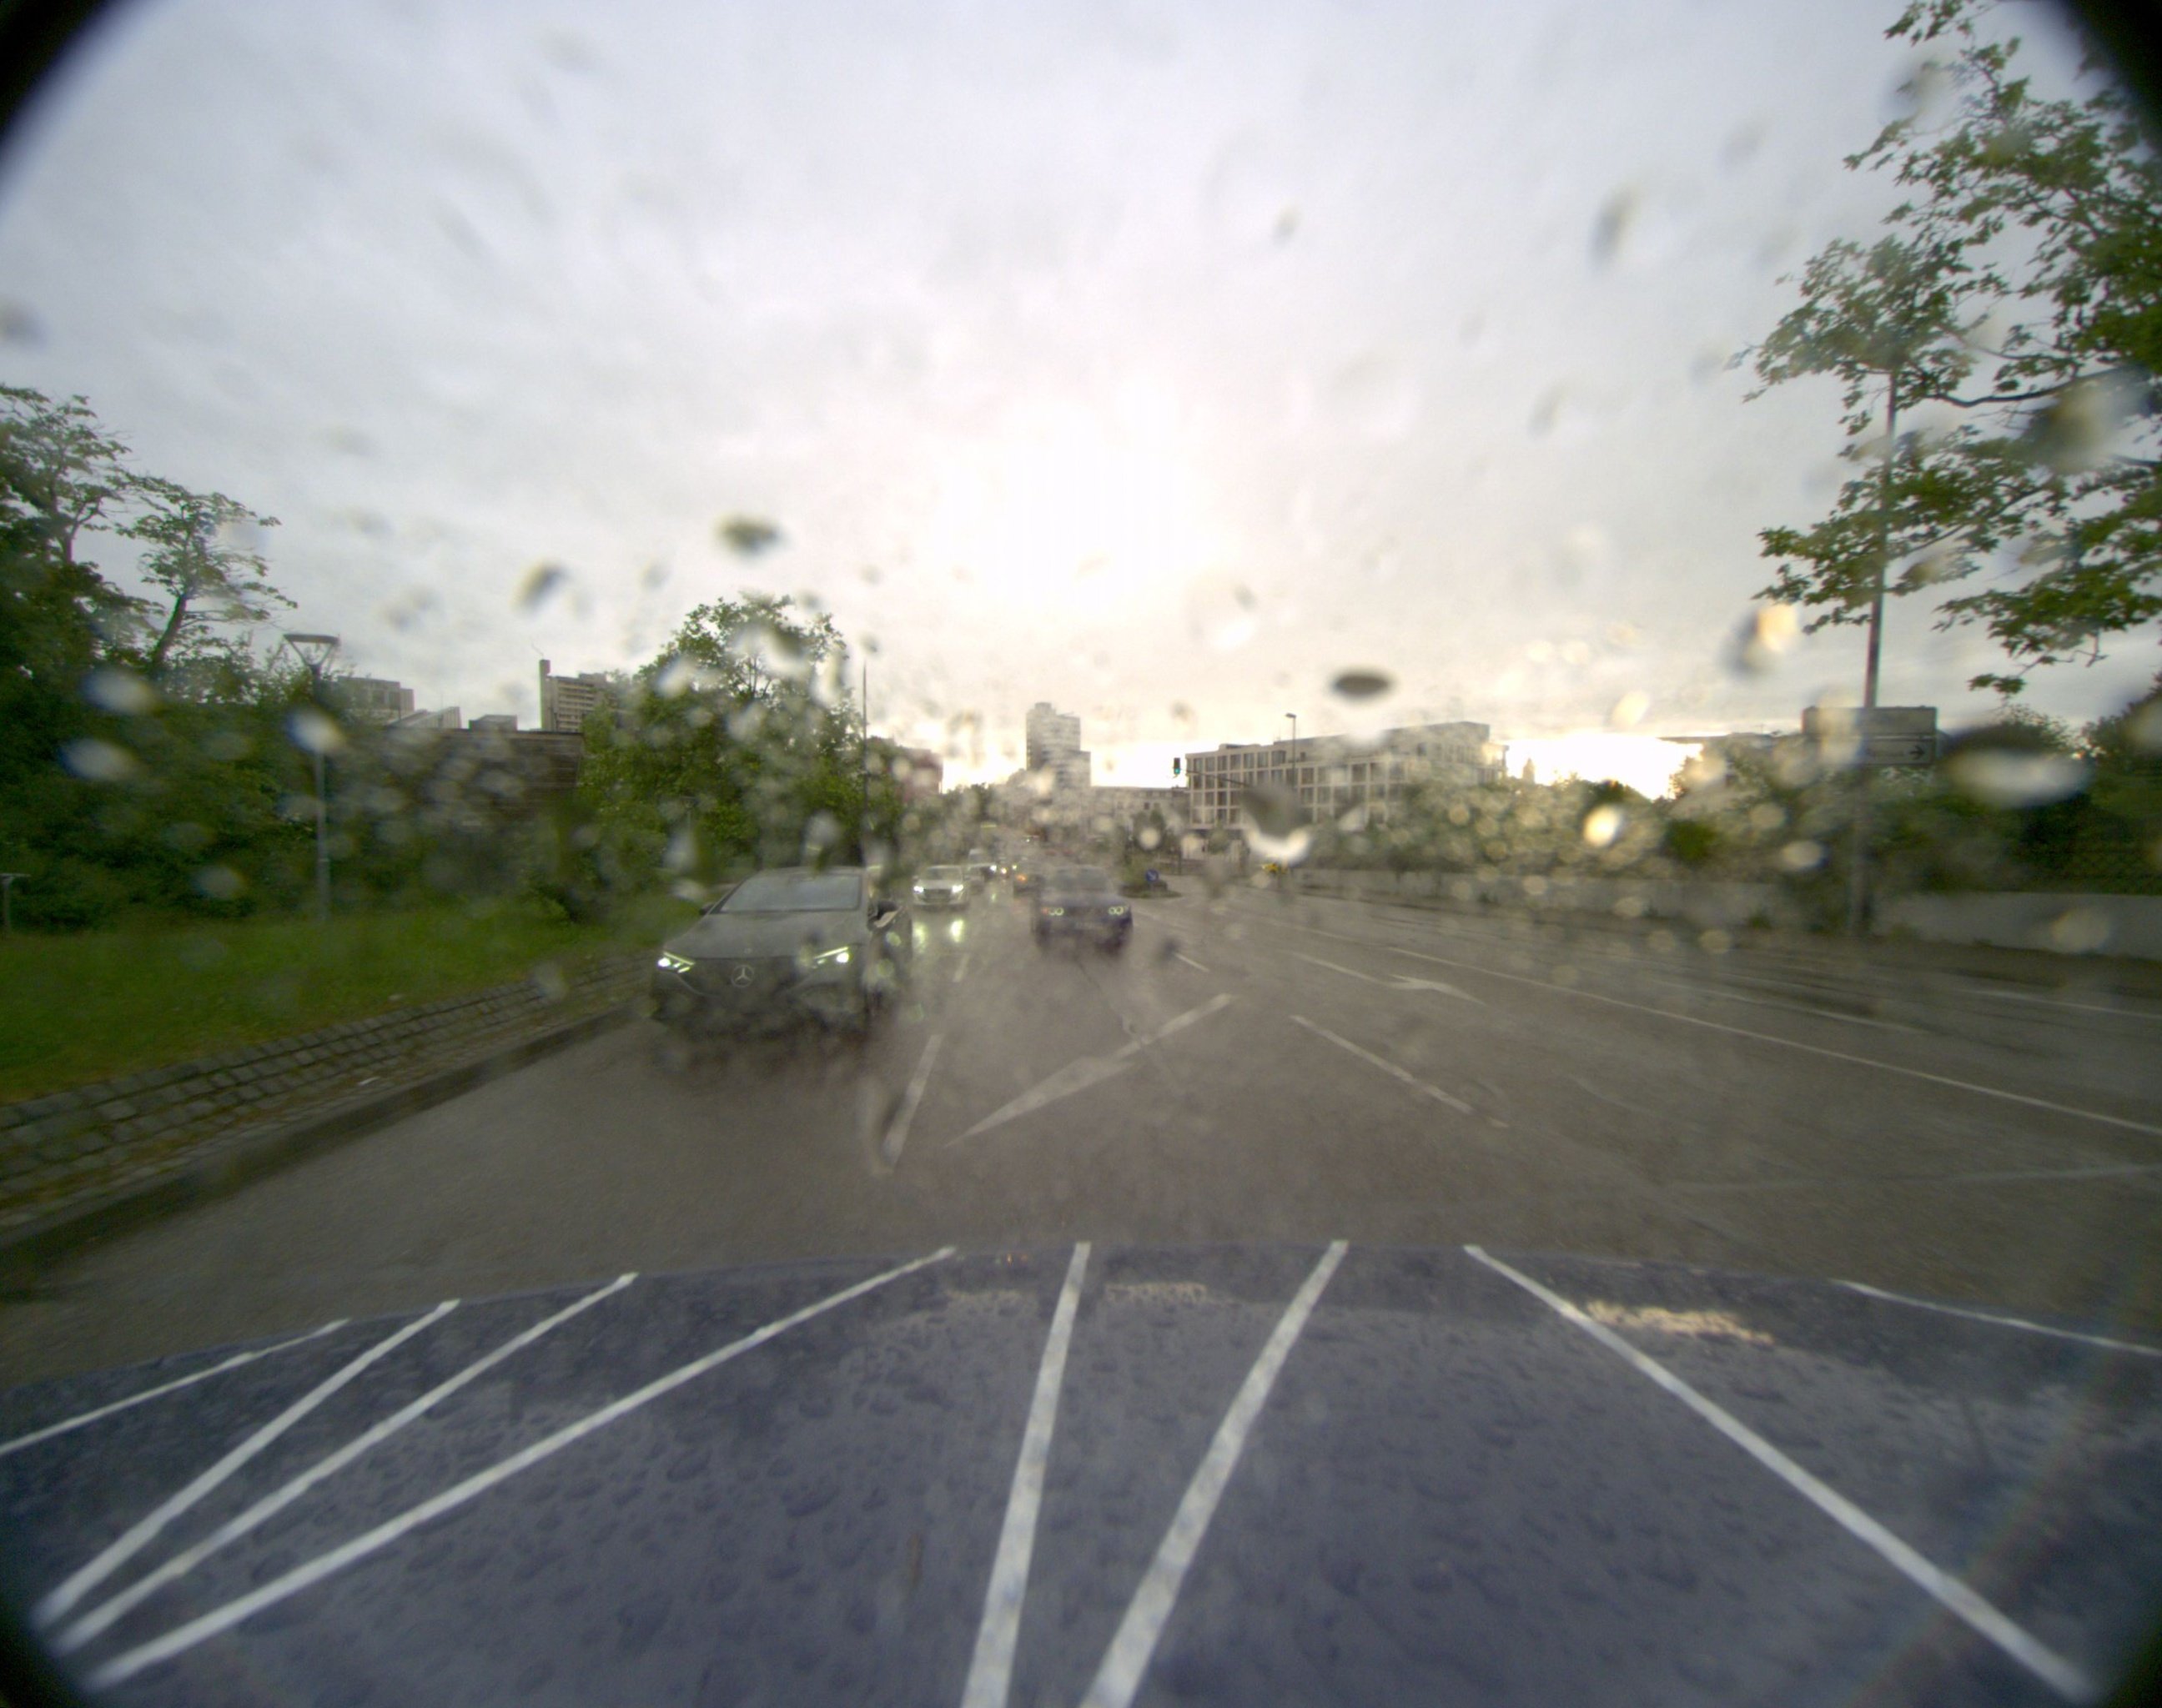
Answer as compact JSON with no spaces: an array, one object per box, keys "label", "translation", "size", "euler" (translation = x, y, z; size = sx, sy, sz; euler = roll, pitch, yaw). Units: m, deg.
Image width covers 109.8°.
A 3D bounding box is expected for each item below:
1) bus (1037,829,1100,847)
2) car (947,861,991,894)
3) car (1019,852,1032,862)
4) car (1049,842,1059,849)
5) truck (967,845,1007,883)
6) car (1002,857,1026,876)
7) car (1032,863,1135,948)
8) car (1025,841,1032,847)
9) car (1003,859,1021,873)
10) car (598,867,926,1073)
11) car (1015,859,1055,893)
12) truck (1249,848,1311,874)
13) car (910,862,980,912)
[{"label":"bus","translation":[-3.086,-3.903,177.431],"size":[2.959,3.972,18.172],"euler":[0,2,-45]},{"label":"car","translation":[-5.586,1.146,38.194],"size":[1.718,1.369,3.733],"euler":[-2,1,-2]},{"label":"car","translation":[-9.268,0.488,126.565],"size":[1.999,1.543,3.998],"euler":[-1,0,-5]},{"label":"car","translation":[-5.753,-1.753,161.707],"size":[1.999,1.406,4.429],"euler":[-1,1,-3]},{"label":"truck","translation":[-6.470,0.641,53.072],"size":[2.169,2.425,6.197],"euler":[-1,1,-2]},{"label":"car","translation":[-6.044,1.109,68.712],"size":[1.999,1.543,3.998],"euler":[-1,0,-5]},{"label":"car","translation":[-0.009,0.933,15.228],"size":[1.787,1.335,3.703],"euler":[-1,1,-2]},{"label":"car","translation":[-13.665,-2.592,197.664],"size":[1.908,1.543,4.073],"euler":[0,1,-2]},{"label":"car","translation":[-7.852,1.380,86.641],"size":[1.999,1.543,3.998],"euler":[-1,0,-5]},{"label":"car","translation":[-3.000,0.963,8.357],"size":[1.836,1.436,4.548],"euler":[-2,1,-3]},{"label":"car","translation":[-2.090,0.990,35.502],"size":[1.718,1.369,3.733],"euler":[-2,1,-2]},{"label":"truck","translation":[20.011,0.733,76.331],"size":[6.186,2.523,2.222],"euler":[1,1,-29]},{"label":"car","translation":[-4.570,1.060,26.090],"size":[1.718,1.389,4.034],"euler":[-2,1,-2]}]
